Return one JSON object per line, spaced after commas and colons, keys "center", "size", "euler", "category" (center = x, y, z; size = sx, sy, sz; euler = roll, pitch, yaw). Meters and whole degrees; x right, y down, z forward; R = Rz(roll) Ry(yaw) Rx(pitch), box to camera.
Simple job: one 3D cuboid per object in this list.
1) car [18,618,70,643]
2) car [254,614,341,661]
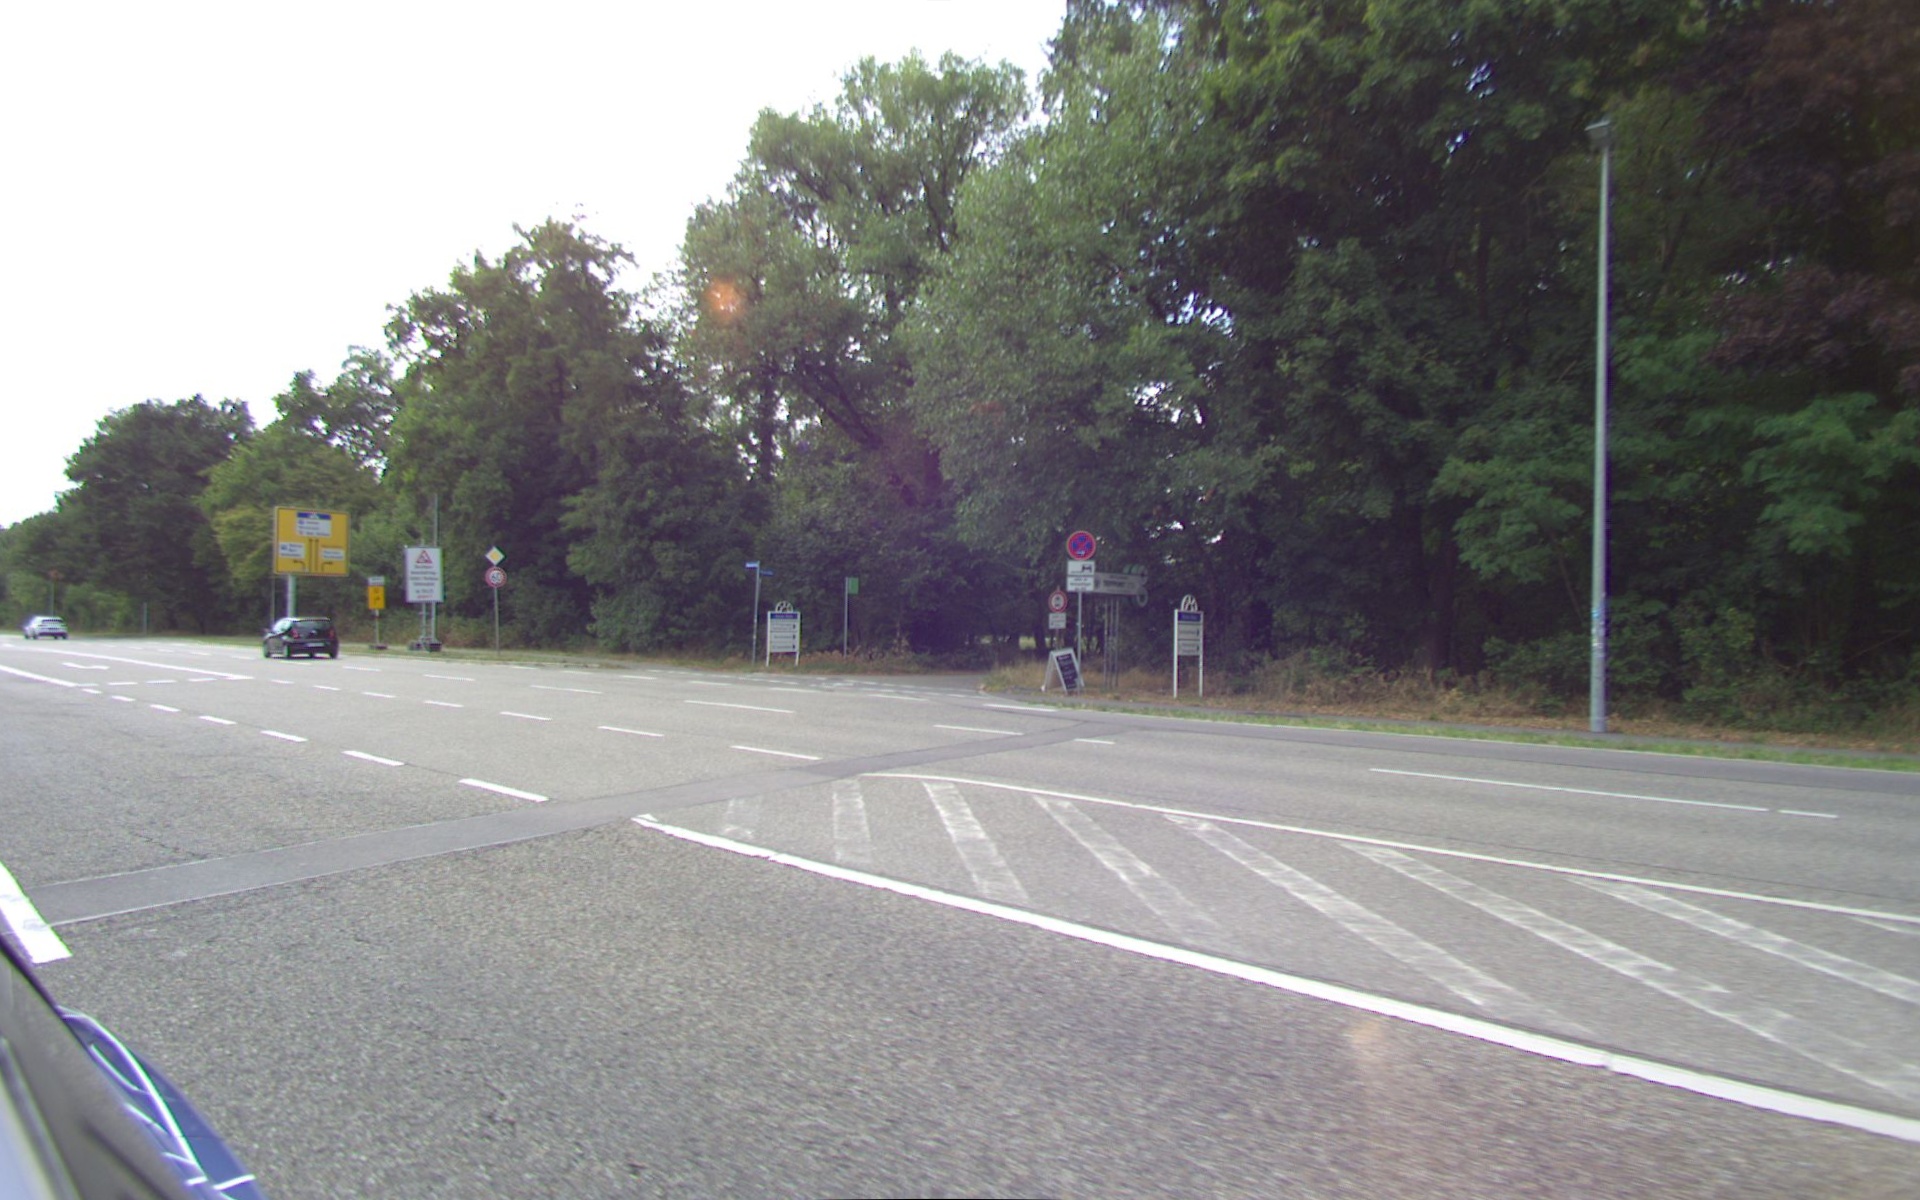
{"center": [-62.289, 2.039, 68.809], "size": [4.586, 1.511, 1.916], "euler": [0, 1, 39], "category": "car"}
{"center": [-23.821, 1.316, 36.328], "size": [4.001, 1.486, 1.722], "euler": [0, 1, 43], "category": "car"}
